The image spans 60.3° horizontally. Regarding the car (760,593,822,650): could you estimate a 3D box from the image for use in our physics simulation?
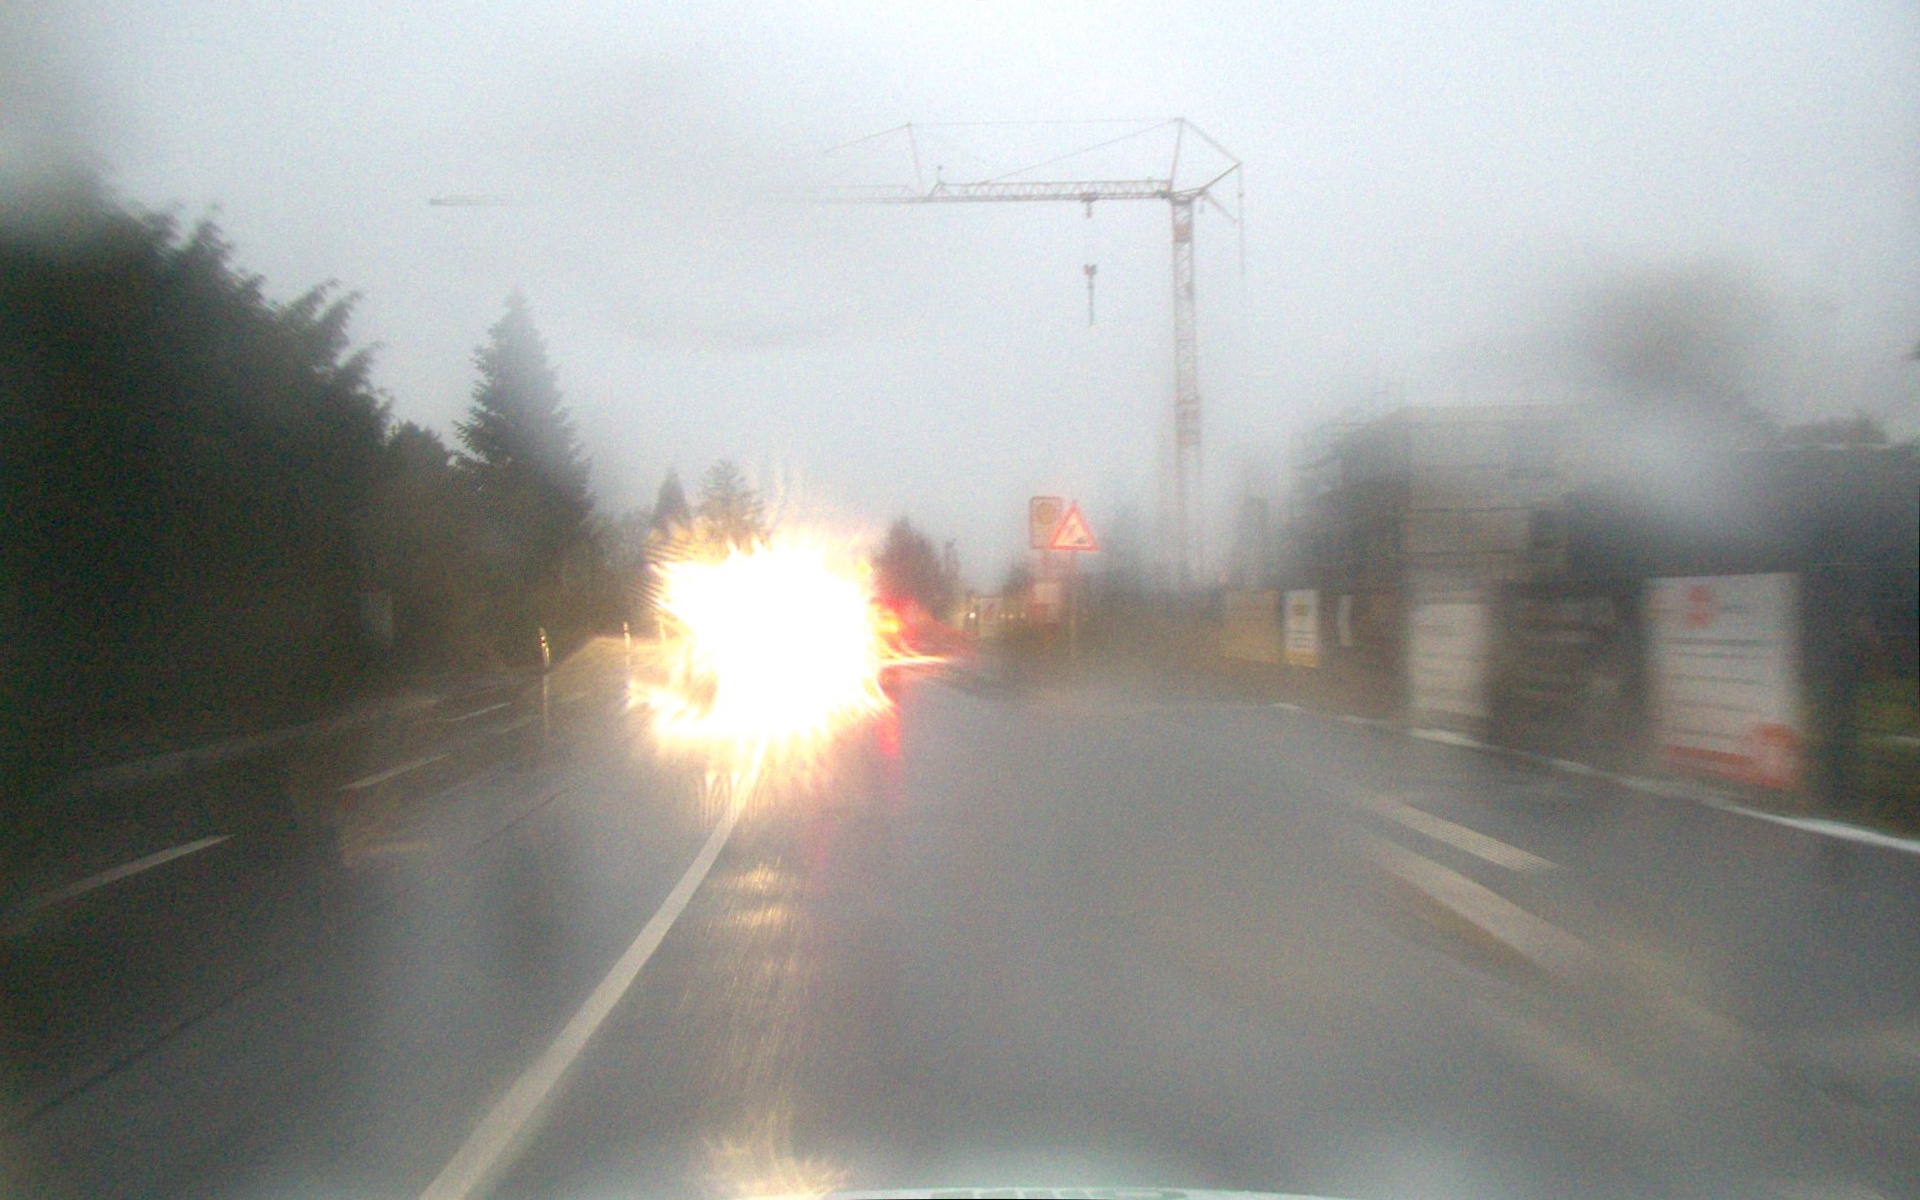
[{"bbox_3d":[-6.097,0.756,59.345,1.957,1.914,3.991,-2,0,-9],"label":"car"}]

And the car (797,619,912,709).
[{"bbox_3d":[-2.138,1.207,32.233,2.008,1.600,4.696,-1,-1,-6],"label":"car"}]
